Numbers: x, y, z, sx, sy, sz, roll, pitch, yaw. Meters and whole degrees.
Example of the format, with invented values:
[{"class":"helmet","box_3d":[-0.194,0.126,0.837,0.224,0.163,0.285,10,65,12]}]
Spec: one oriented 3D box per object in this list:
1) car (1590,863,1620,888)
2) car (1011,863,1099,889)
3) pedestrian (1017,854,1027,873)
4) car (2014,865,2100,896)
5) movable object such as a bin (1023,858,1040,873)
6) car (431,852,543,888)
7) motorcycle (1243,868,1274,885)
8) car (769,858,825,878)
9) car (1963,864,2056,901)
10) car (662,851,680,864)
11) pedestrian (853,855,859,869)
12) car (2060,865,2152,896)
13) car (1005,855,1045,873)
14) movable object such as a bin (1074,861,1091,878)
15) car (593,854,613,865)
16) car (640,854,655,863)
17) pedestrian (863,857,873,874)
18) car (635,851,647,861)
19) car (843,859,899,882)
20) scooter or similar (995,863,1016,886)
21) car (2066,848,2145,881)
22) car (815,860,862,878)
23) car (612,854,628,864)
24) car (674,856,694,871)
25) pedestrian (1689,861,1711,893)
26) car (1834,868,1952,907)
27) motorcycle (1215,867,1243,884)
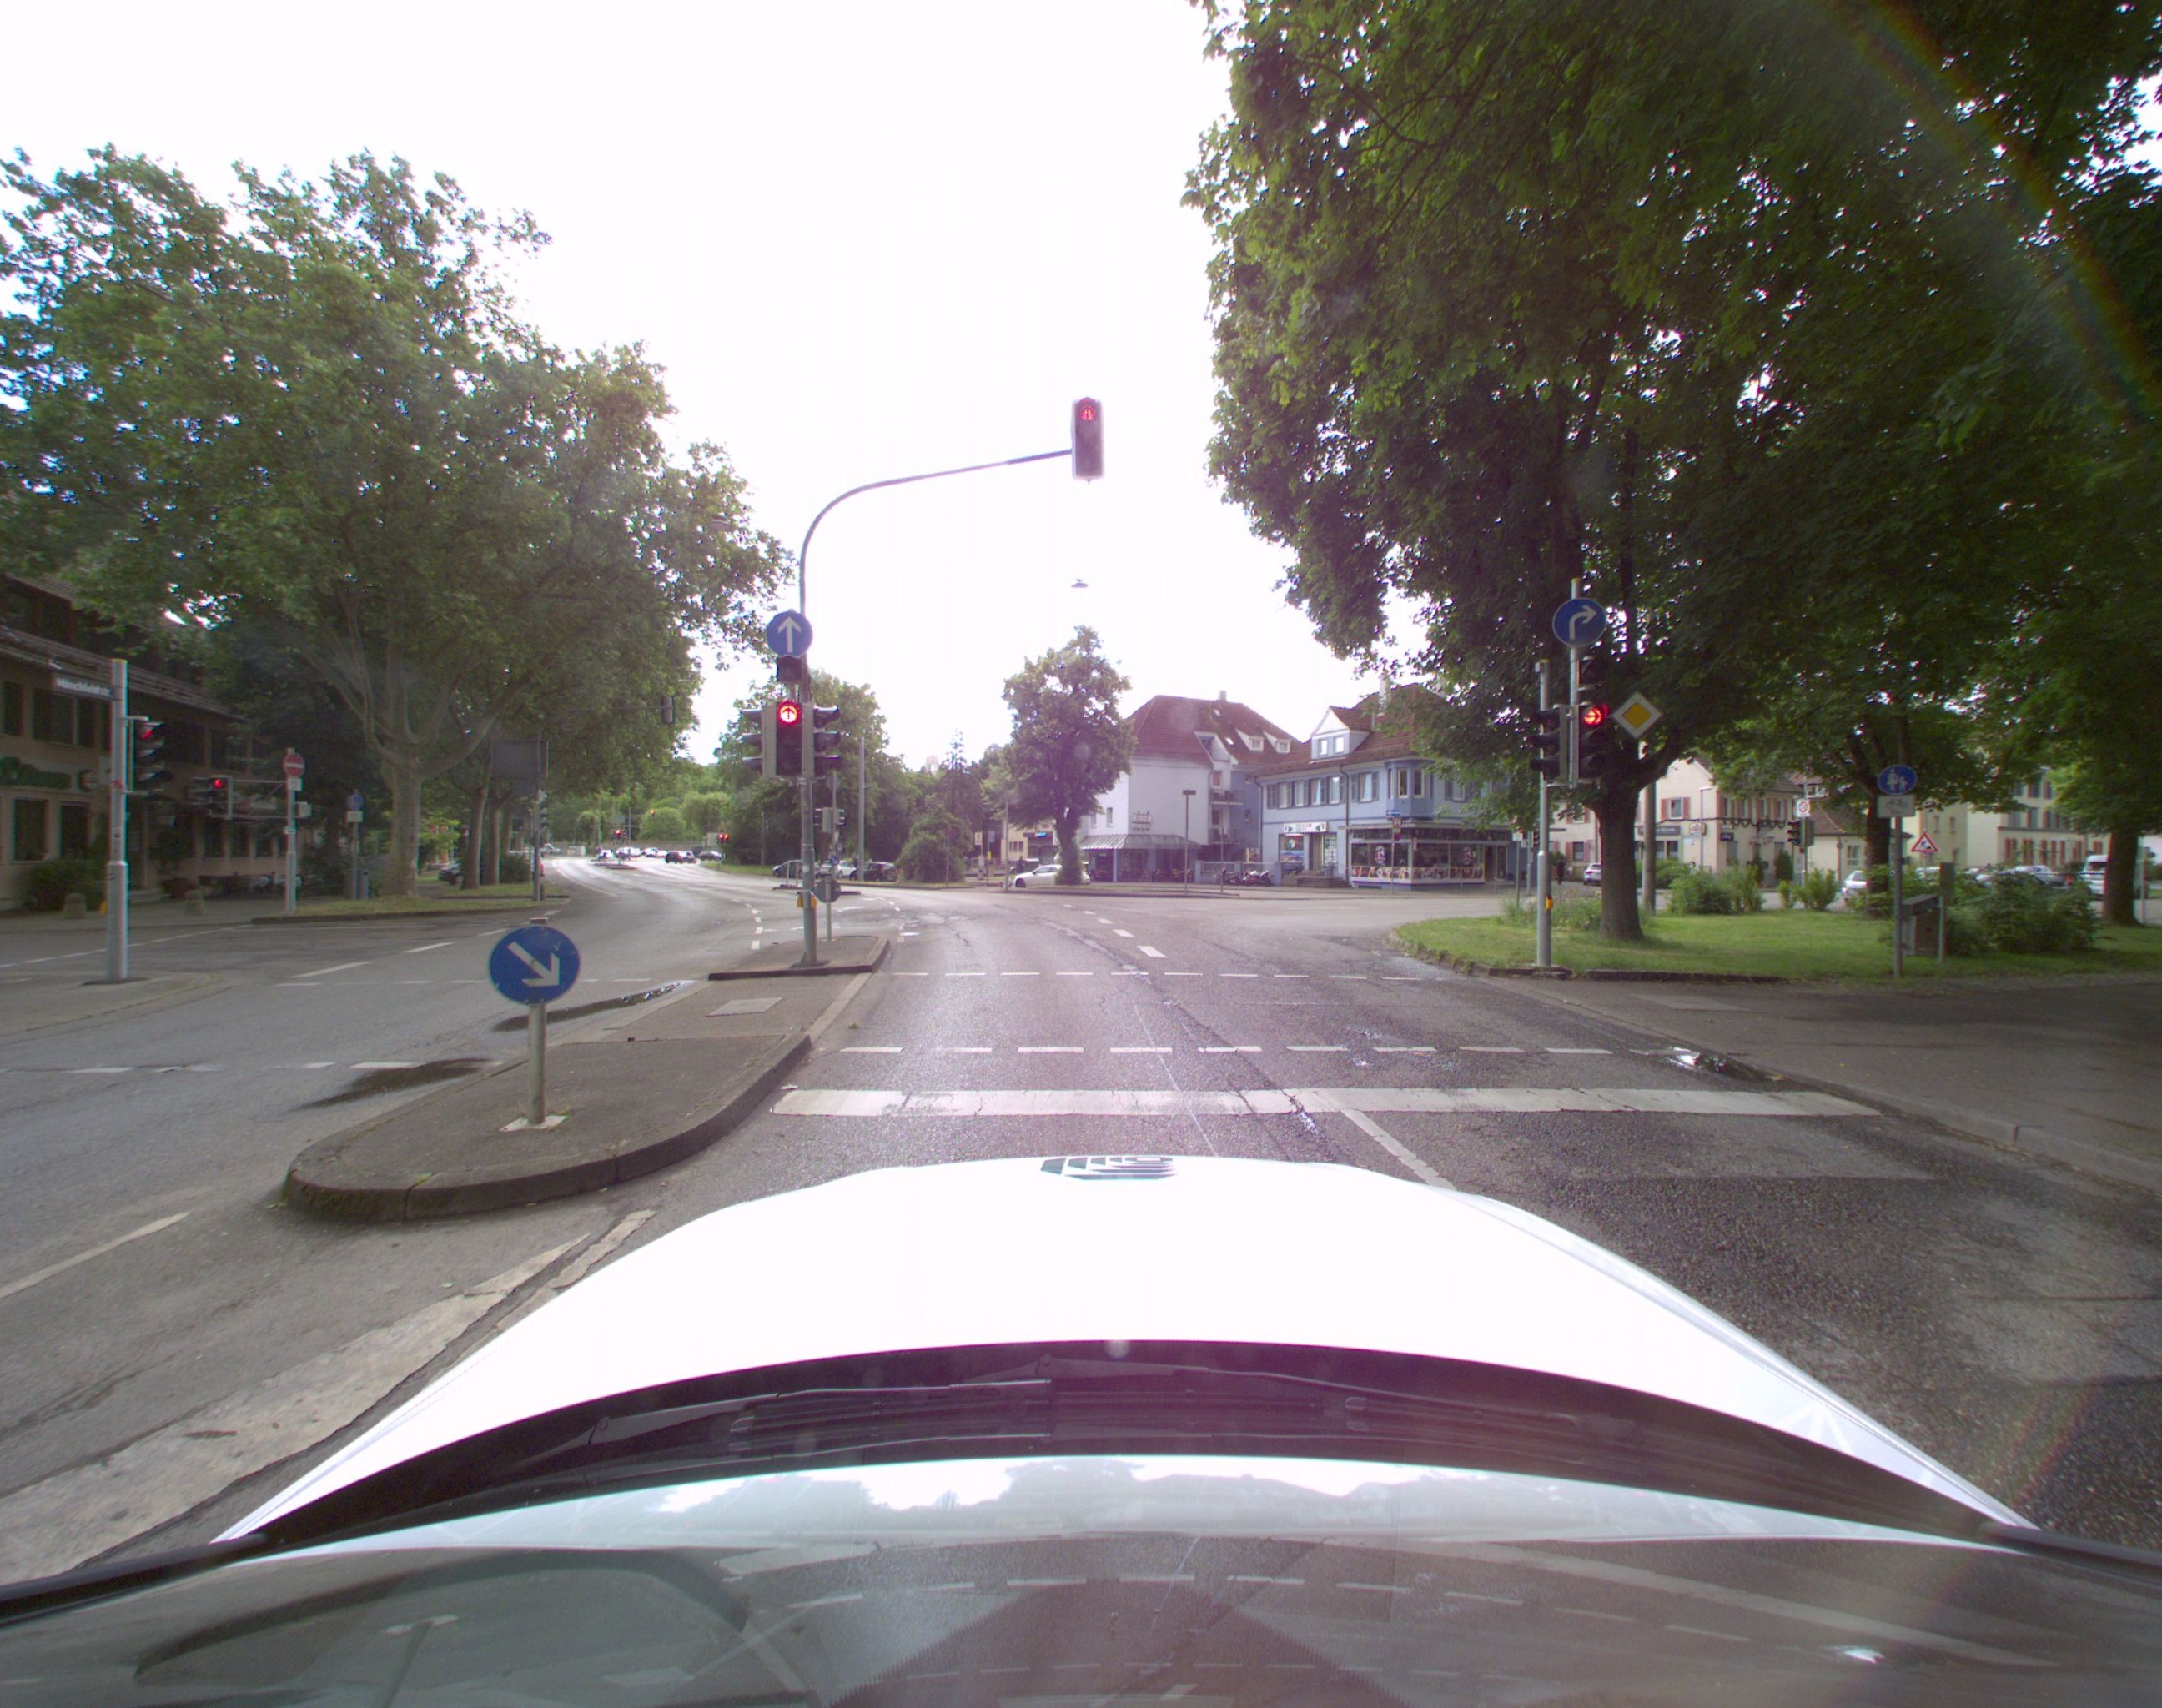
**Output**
[{"class":"car","box_3d":[32.474,1.292,50.533,1.551,1.462,3.461,0,0,32]},{"class":"car","box_3d":[-1.480,1.191,45.943,4.726,1.386,2.013,-1,-1,36]},{"class":"pedestrian","box_3d":[-5.407,0.832,74.861,0.691,1.729,0.605,0,-1,-30]},{"class":"car","box_3d":[46.959,1.253,39.178,3.746,1.390,1.725,0,-1,-24]},{"class":"movable object such as a bin","box_3d":[-4.544,1.008,74.175,1.223,1.345,0.986,0,-1,-30]},{"class":"car","box_3d":[-36.692,0.946,50.448,2.058,1.931,5.276,0,2,42]},{"class":"motorcycle","box_3d":[10.473,1.342,48.199,1.800,0.985,0.525,-1,-1,45]},{"class":"car","box_3d":[-22.659,1.136,64.950,4.063,1.429,1.743,2,0,24]},{"class":"car","box_3d":[42.253,1.251,37.055,4.008,1.572,1.857,0,-1,-27]},{"class":"car","box_3d":[-48.868,0.427,96.985,1.833,1.509,4.532,-1,0,-28]},{"class":"pedestrian","box_3d":[-24.741,0.859,89.642,0.512,1.531,0.773,1,-1,-20]},{"class":"car","box_3d":[52.704,1.323,41.878,4.407,1.456,1.910,0,0,-24]},{"class":"car","box_3d":[-5.239,0.951,76.130,3.428,1.630,1.612,0,0,-23]},{"class":"movable object such as a bin","box_3d":[0.137,1.352,70.608,1.218,1.395,1.153,0,-1,-20]},{"class":"car","box_3d":[-69.927,0.859,119.207,1.769,1.466,3.992,5,-2,-22]},{"class":"car","box_3d":[-82.886,0.802,155.758,2.002,1.655,4.394,0,1,-23]},{"class":"pedestrian","box_3d":[-19.493,1.075,74.640,0.687,1.551,0.736,1,0,-30]},{"class":"car","box_3d":[-96.437,0.460,178.461,2.007,2.014,3.959,0,0,-32]},{"class":"car","box_3d":[-13.919,1.090,54.063,3.450,1.404,1.583,1,0,30]},{"class":"scooter or similar","box_3d":[-3.970,1.102,42.974,0.407,1.167,1.370,0,-3,28]},{"class":"car","box_3d":[77.313,0.786,61.439,5.966,2.392,2.318,0,-1,-24]},{"class":"car","box_3d":[-20.060,1.214,67.613,1.746,1.380,4.278,1,0,14]},{"class":"car","box_3d":[-76.069,0.790,134.381,1.805,1.586,4.380,-2,2,-24]},{"class":"car","box_3d":[-51.985,1.253,106.735,2.001,1.926,3.971,0,0,-21]},{"class":"pedestrian","box_3d":[33.577,1.225,44.167,0.648,1.697,0.750,1,-1,-27]},{"class":"car","box_3d":[32.938,1.303,33.020,4.552,1.456,1.885,0,-1,-24]},{"class":"motorcycle","box_3d":[9.069,1.315,49.983,1.703,1.031,0.492,-1,-1,45]}]
